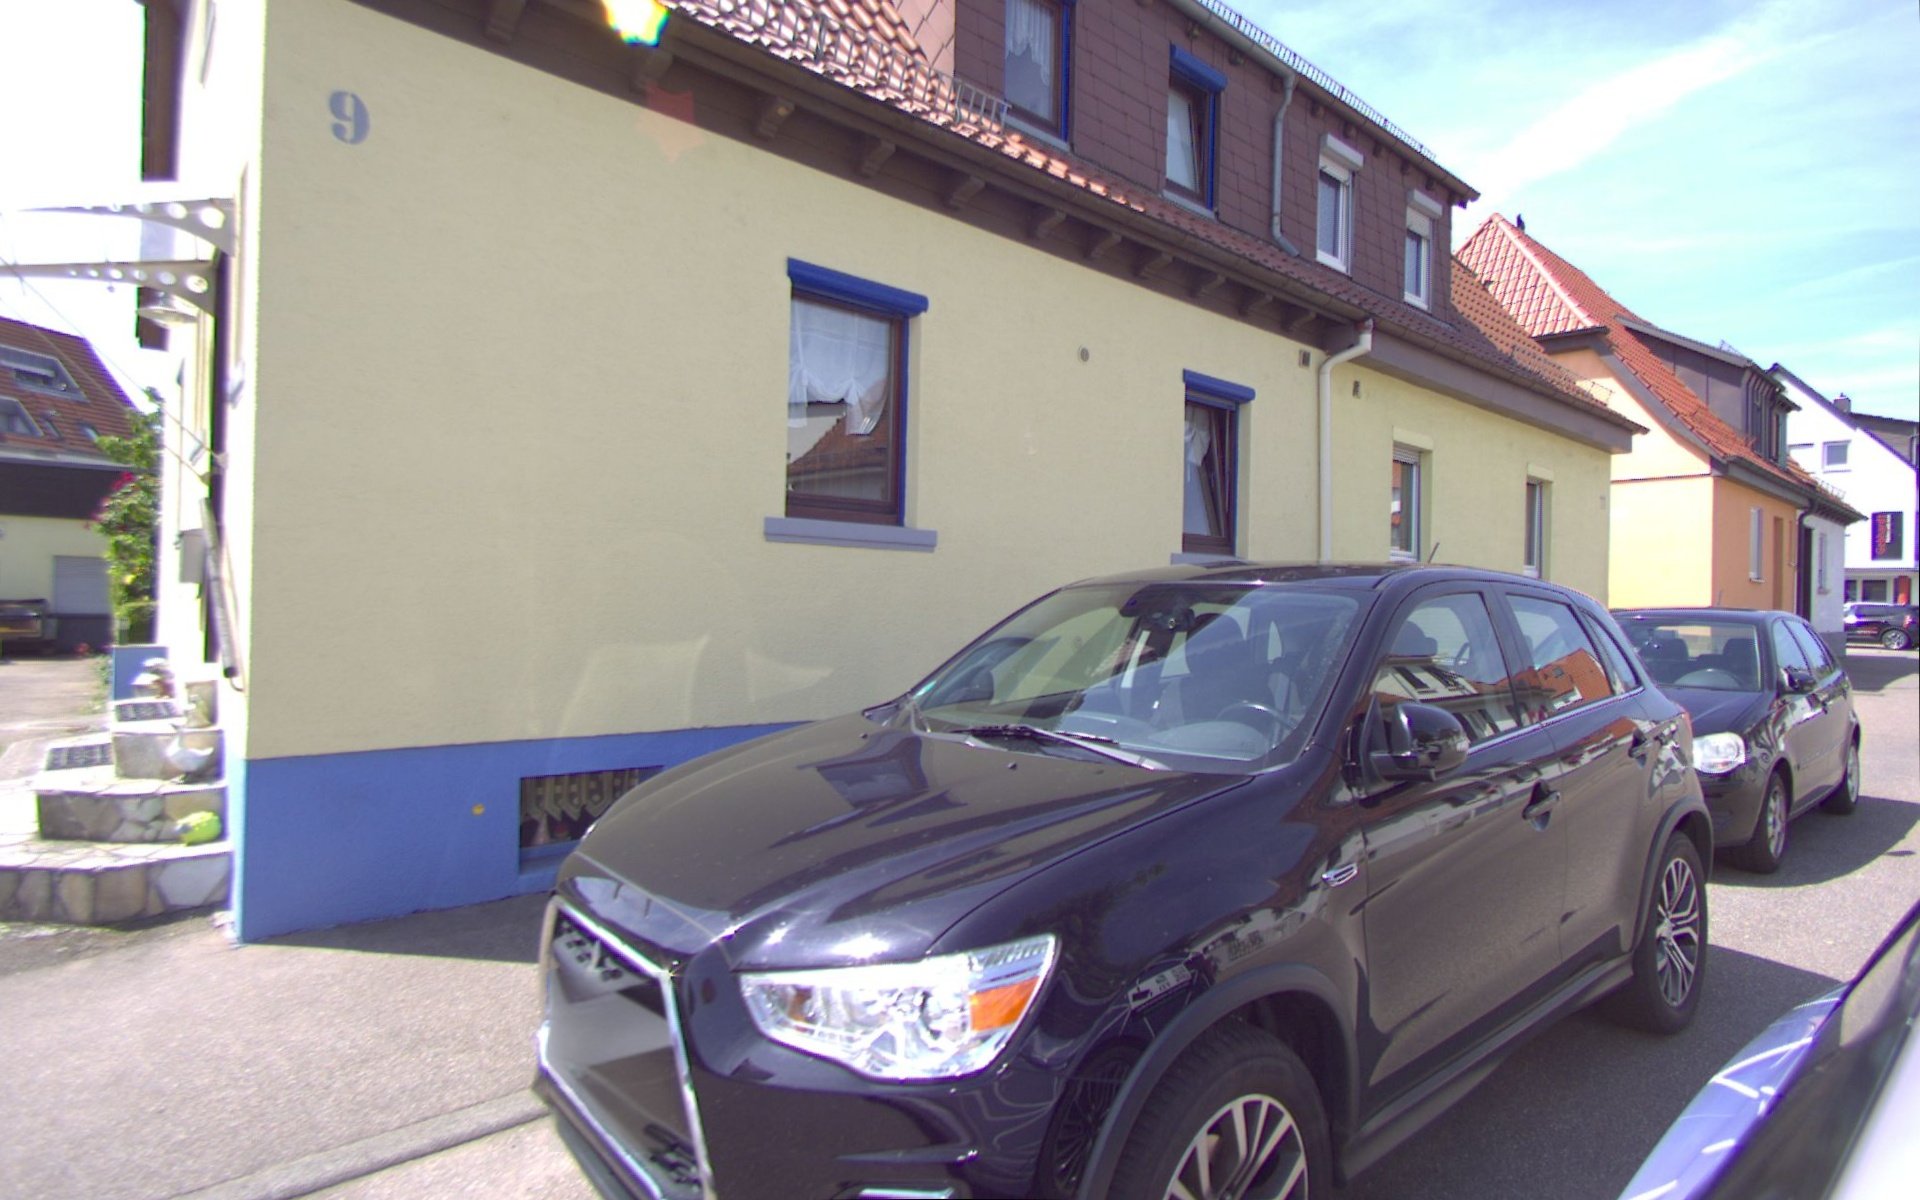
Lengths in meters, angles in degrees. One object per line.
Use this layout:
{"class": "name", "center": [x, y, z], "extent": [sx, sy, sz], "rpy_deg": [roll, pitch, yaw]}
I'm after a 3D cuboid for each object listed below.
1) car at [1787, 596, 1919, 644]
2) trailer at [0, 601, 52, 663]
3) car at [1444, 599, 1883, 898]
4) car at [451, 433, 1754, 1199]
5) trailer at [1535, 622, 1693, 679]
{"class": "car", "center": [33.087, 0.697, 36.812], "extent": [1.812, 1.674, 4.310], "rpy_deg": [0, 0, -32]}
{"class": "trailer", "center": [-17.503, 0.557, 18.489], "extent": [1.294, 1.055, 2.169], "rpy_deg": [2, -1, -41]}
{"class": "car", "center": [4.835, 0.726, 6.761], "extent": [3.689, 1.449, 1.613], "rpy_deg": [0, -1, -42]}
{"class": "car", "center": [0.894, 0.624, 3.181], "extent": [4.178, 1.620, 1.731], "rpy_deg": [0, -1, -40]}
{"class": "trailer", "center": [11.600, 0.879, 18.060], "extent": [2.115, 0.911, 1.235], "rpy_deg": [0, 0, 20]}
